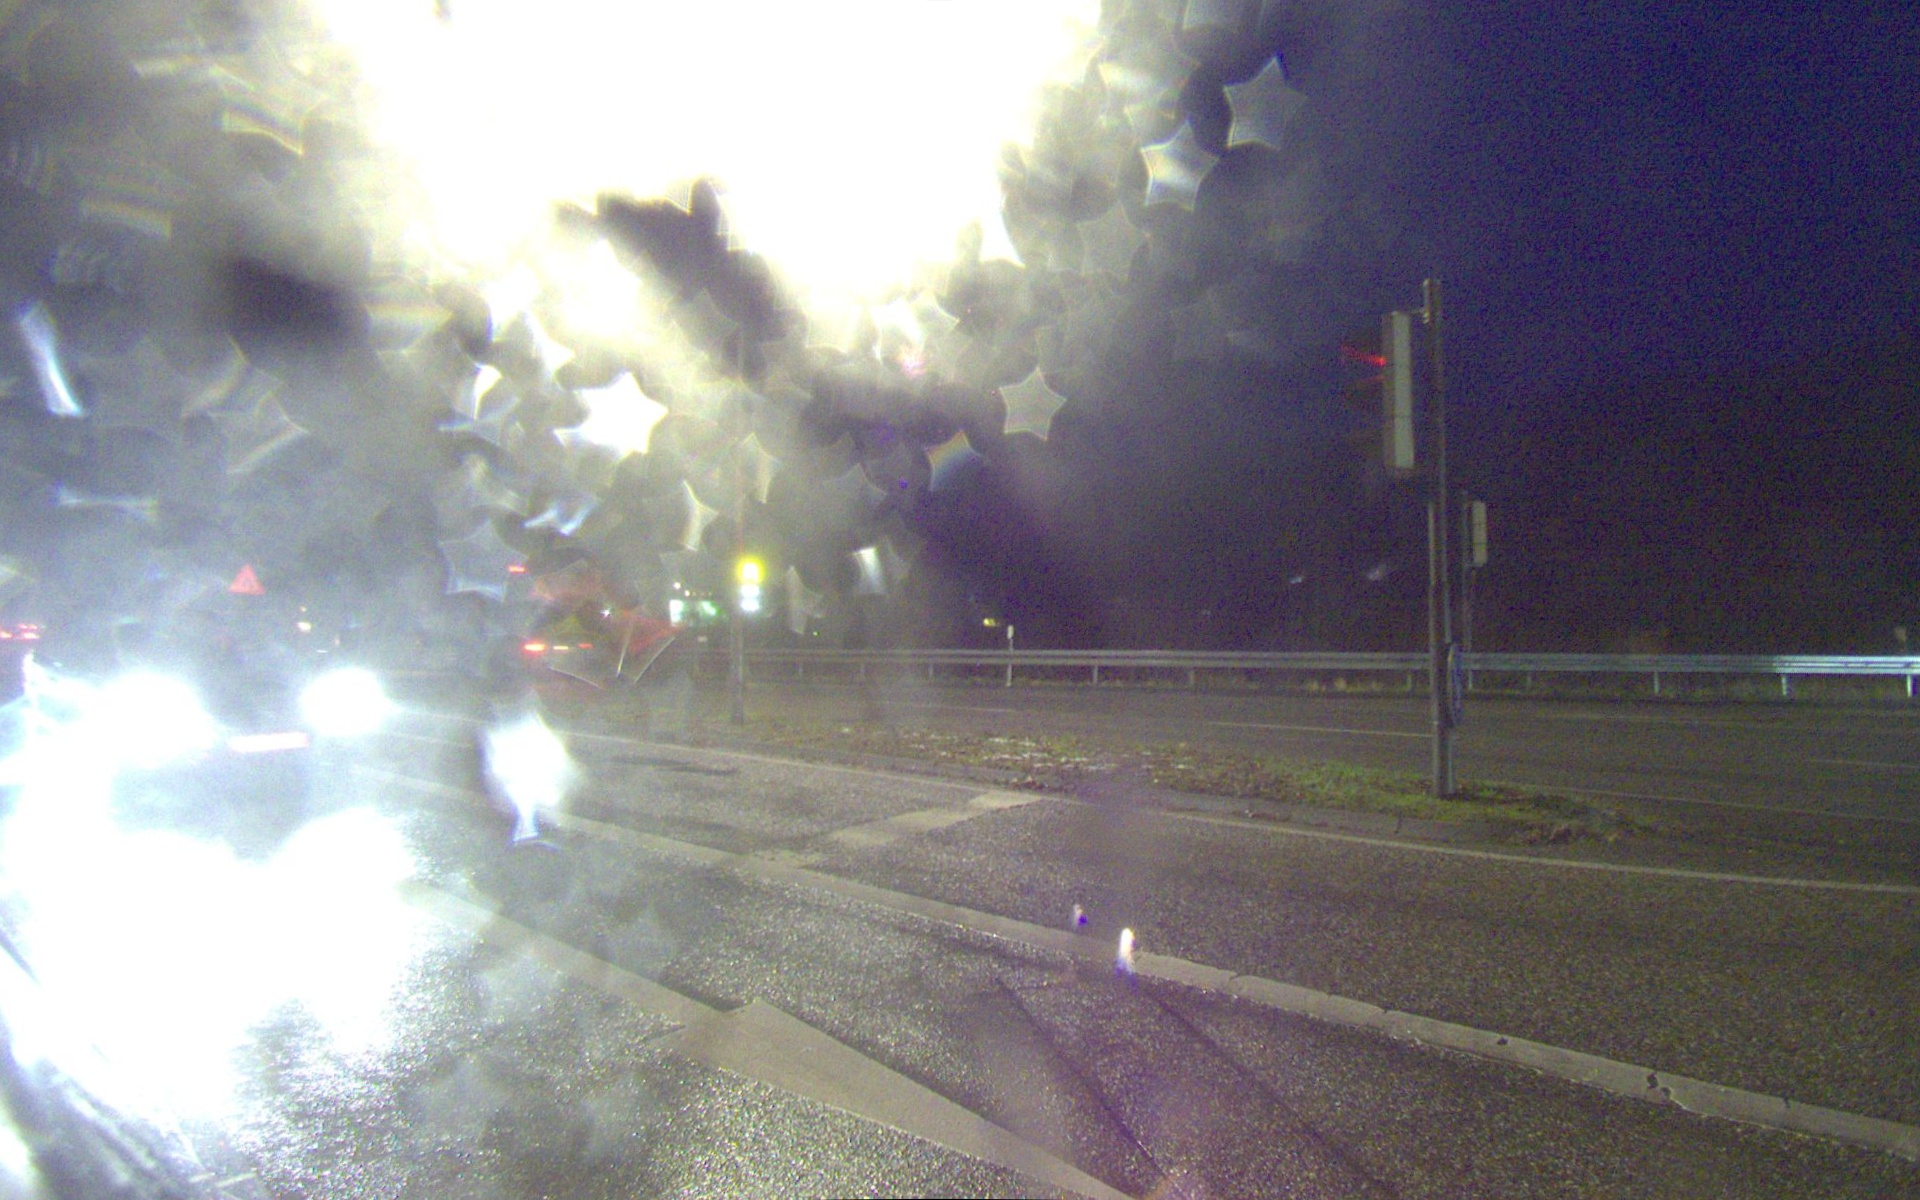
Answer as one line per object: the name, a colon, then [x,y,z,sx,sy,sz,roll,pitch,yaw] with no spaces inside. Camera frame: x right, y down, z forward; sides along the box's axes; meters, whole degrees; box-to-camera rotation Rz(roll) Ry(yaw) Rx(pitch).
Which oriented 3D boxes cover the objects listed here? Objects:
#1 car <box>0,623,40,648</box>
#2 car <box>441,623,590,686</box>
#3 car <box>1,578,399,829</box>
car: [-61.955,2.289,66.378,4.889,1.515,1.728,0,0,40]
car: [-11.655,1.389,26.425,4.369,1.510,1.637,-1,-4,38]
car: [-7.131,0.766,9.265,4.935,1.717,1.890,-1,-2,41]
